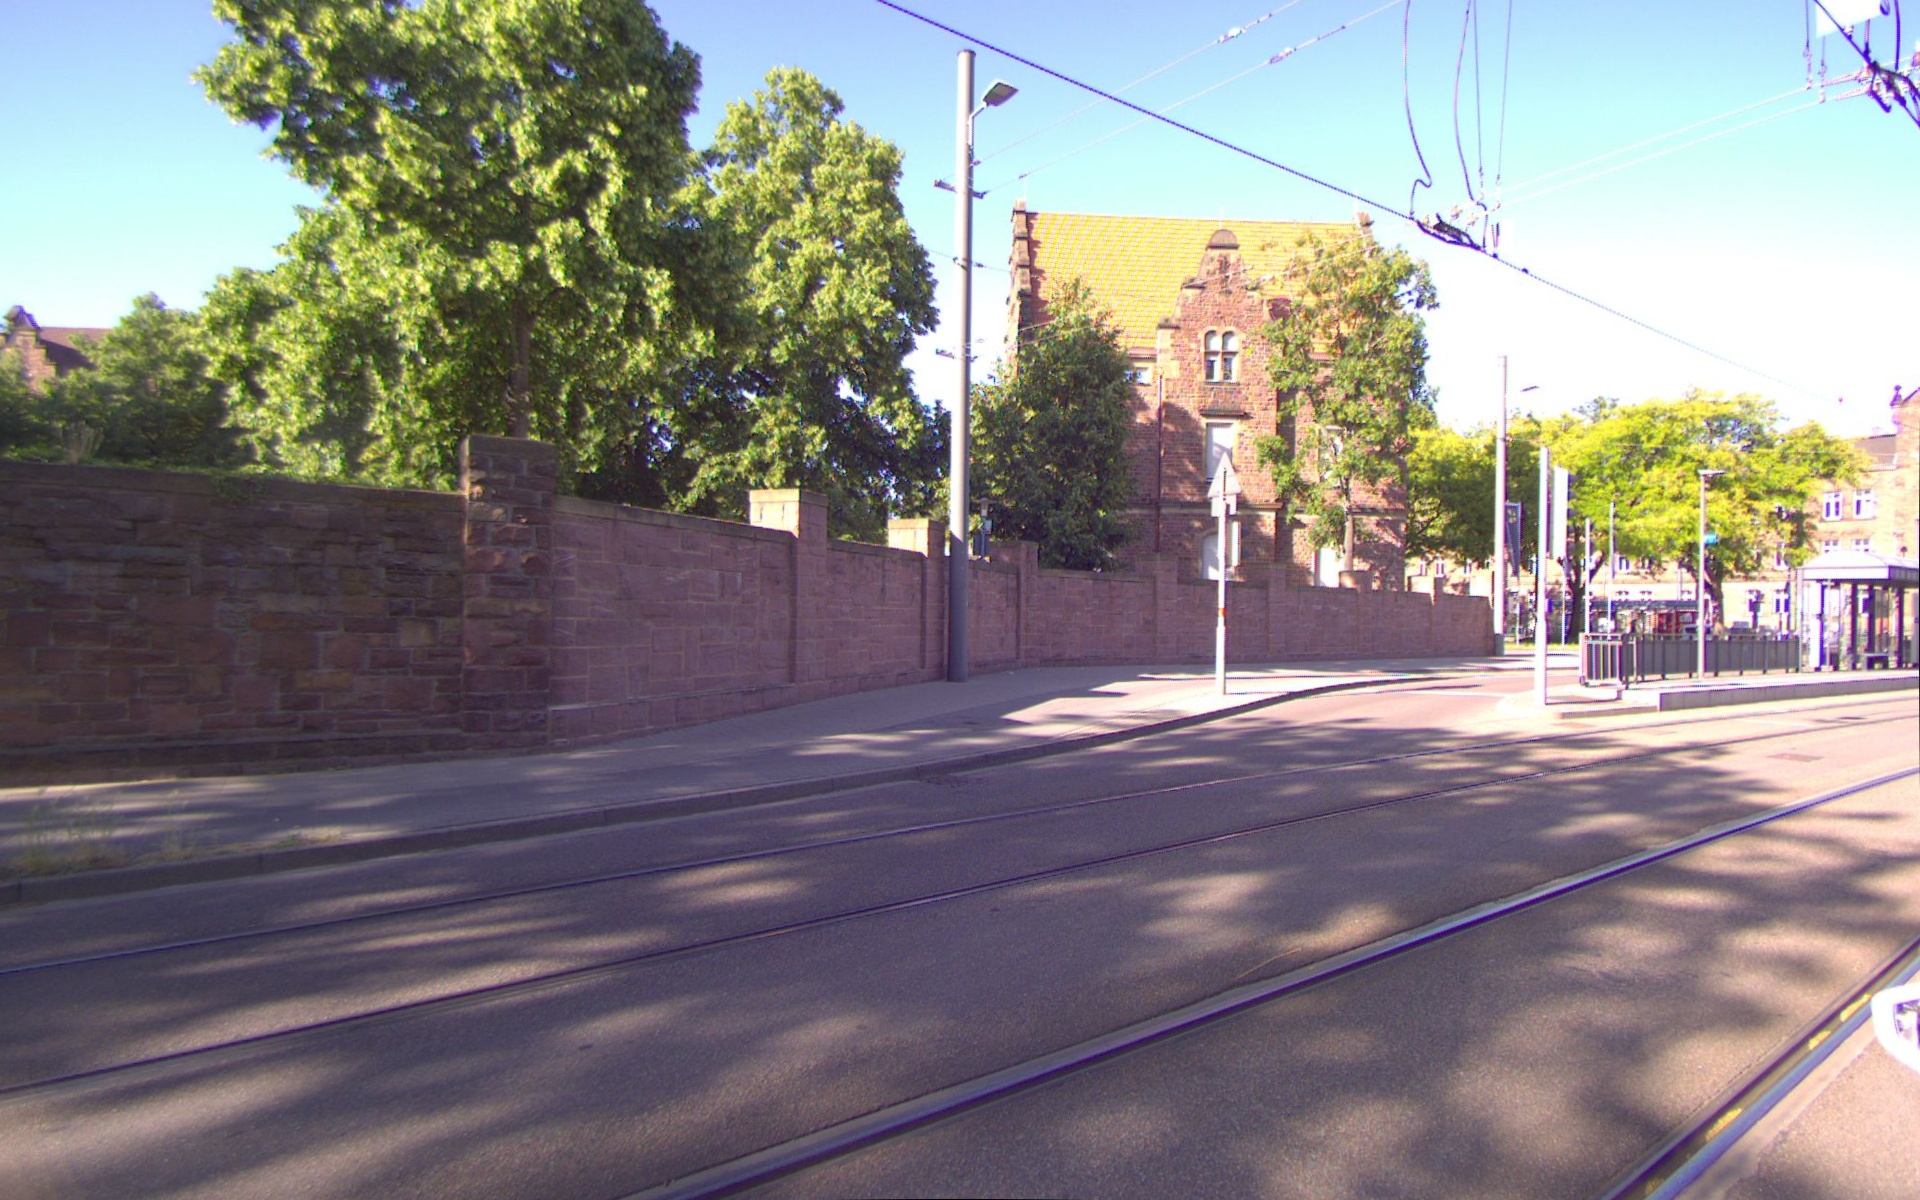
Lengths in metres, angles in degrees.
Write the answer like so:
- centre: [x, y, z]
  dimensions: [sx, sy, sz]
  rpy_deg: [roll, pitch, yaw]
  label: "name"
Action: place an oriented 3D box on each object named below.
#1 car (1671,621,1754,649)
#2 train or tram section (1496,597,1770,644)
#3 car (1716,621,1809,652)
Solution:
- centre: [49.167, 2.243, 65.684]
  dimensions: [1.798, 1.651, 3.964]
  rpy_deg: [2, 0, -32]
  label: "car"
- centre: [50.016, 1.459, 75.889]
  dimensions: [3.312, 3.196, 17.280]
  rpy_deg: [2, -1, -33]
  label: "train or tram section"
- centre: [47.743, 2.161, 59.800]
  dimensions: [1.798, 1.651, 3.964]
  rpy_deg: [2, 0, -32]
  label: "car"
